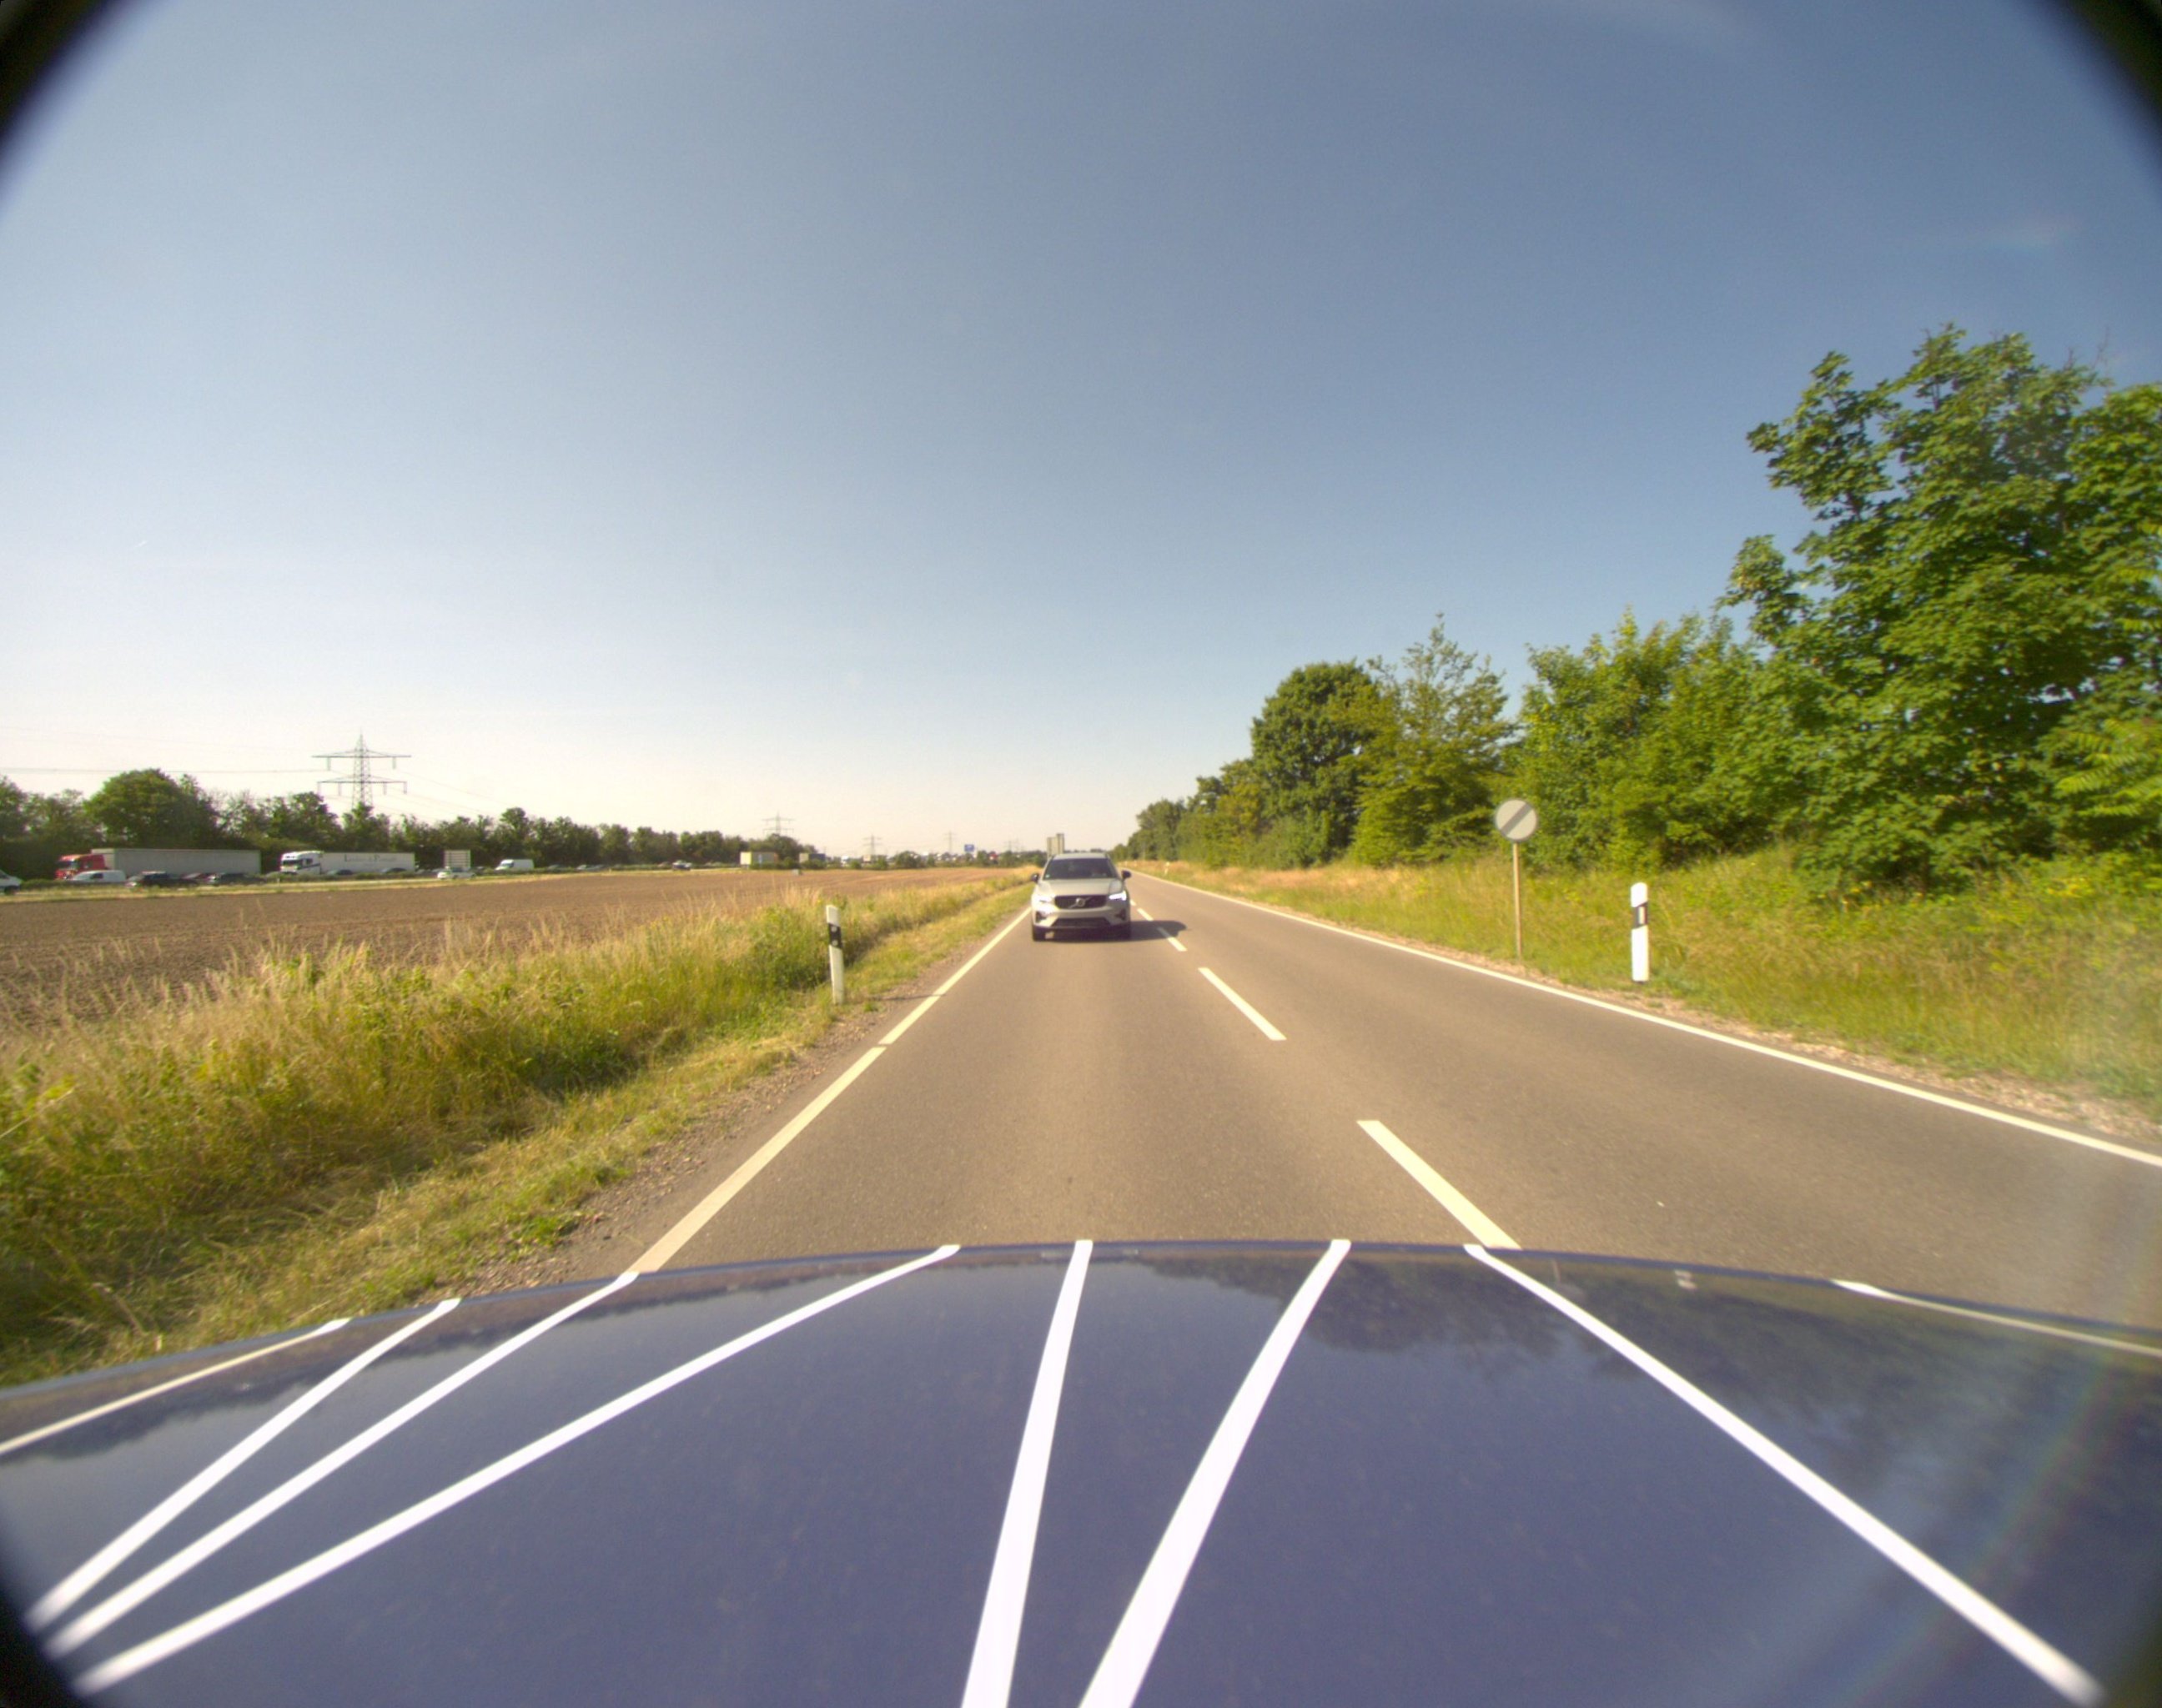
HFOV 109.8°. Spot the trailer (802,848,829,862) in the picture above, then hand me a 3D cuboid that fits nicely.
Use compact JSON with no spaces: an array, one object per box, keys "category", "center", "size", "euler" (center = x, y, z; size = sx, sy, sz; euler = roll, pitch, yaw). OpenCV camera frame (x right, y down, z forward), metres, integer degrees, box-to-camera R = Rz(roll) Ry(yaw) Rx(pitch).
[{"category":"trailer","center":[-79.375,0.269,227.346],"size":[3.080,3.779,14.593],"euler":[-2,-1,-1]}]

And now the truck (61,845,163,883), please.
[{"category":"truck","center":[-101.058,1.014,79.403],"size":[2.953,3.711,5.869],"euler":[-1,0,1]}]

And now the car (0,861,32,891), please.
[{"category":"car","center":[-87.310,1.768,59.664],"size":[1.998,2.358,5.521],"euler":[-3,0,0]}]

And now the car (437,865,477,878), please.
[{"category":"car","center":[-82.274,2.321,100.315],"size":[1.707,1.534,4.196],"euler":[-3,1,1]}]

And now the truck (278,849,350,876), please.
[{"category":"truck","center":[-100.634,1.079,99.856],"size":[3.210,3.510,6.109],"euler":[0,0,0]}]

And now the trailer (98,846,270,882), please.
[{"category":"trailer","center":[-100.999,1.068,86.195],"size":[2.953,3.711,13.782],"euler":[-1,0,1]}]

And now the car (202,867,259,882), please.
[{"category":"car","center":[-94.601,2.232,84.573],"size":[1.707,1.500,4.094],"euler":[-3,0,1]}]

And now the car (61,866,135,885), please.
[{"category":"car","center":[-94.819,2.018,73.368],"size":[1.707,1.629,4.094],"euler":[-3,0,0]}]

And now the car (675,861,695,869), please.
[{"category":"car","center":[-81.390,2.245,156.271],"size":[1.707,1.534,4.196],"euler":[-3,1,1]}]

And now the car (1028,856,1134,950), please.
[{"category":"car","center":[0.050,0.879,15.560],"size":[1.840,1.628,4.136],"euler":[-2,0,1]}]

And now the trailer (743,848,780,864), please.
[{"category":"trailer","center":[-80.580,0.594,191.809],"size":[3.111,3.826,13.719],"euler":[-1,0,1]}]

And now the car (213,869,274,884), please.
[{"category":"car","center":[-86.699,2.292,78.705],"size":[1.707,1.365,4.094],"euler":[-3,0,1]}]

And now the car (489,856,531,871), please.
[{"category":"car","center":[-95.432,1.602,127.155],"size":[2.042,2.433,6.414],"euler":[-2,0,1]}]

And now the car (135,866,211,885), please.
[{"category":"car","center":[-82.314,1.922,68.979],"size":[1.707,1.464,4.210],"euler":[-3,0,1]}]

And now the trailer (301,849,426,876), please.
[{"category":"trailer","center":[-100.593,1.083,107.168],"size":[3.210,3.510,15.082],"euler":[0,0,0]}]
